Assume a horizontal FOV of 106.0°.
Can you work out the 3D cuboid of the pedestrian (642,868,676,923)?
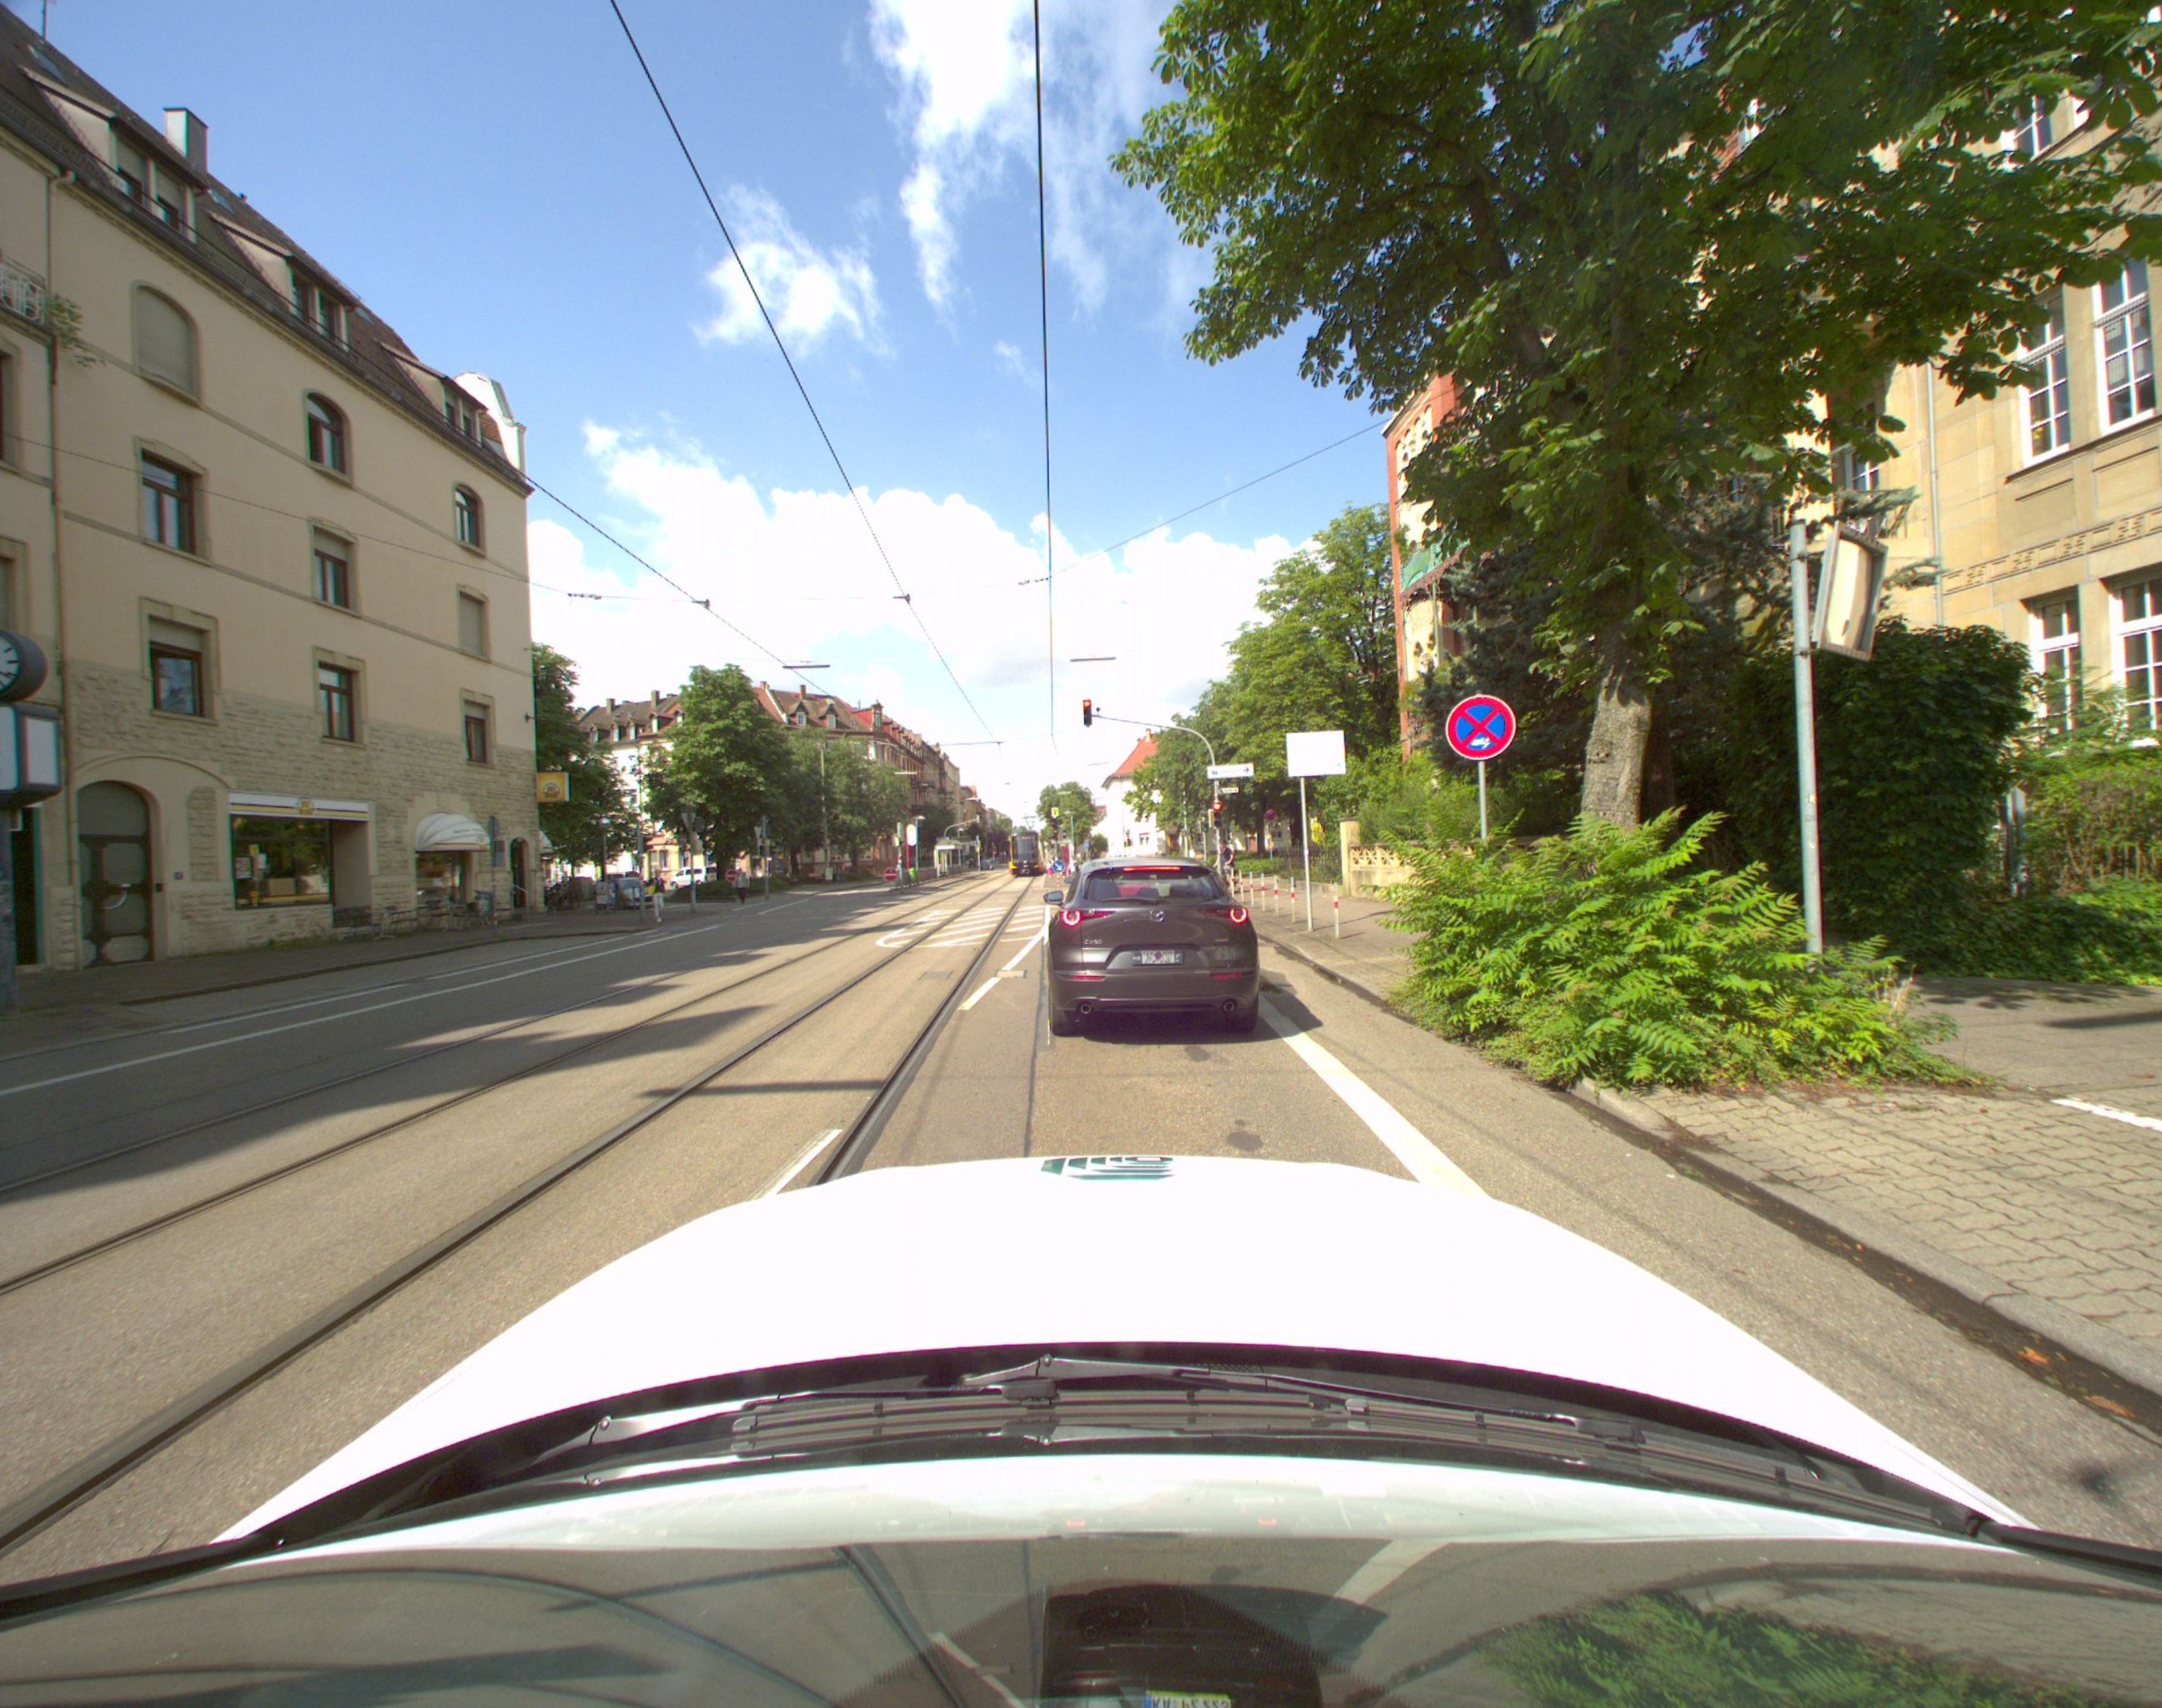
[{"bbox_3d":[-13.944,1.353,26.897,0.805,1.754,0.677,-2,0,-41],"label":"pedestrian"}]

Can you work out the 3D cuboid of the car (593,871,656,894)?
[{"bbox_3d":[-37.244,2.298,66.489,3.972,1.596,2.001,-3,0,1],"label":"car"}]

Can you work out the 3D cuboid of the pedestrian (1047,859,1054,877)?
[{"bbox_3d":[-1.835,0.839,48.585,0.379,1.071,0.474,-3,0,-3],"label":"pedestrian"}]

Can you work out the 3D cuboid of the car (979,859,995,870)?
[{"bbox_3d":[-11.912,1.292,103.300,1.610,1.310,3.625,-3,0,-2],"label":"car"}]

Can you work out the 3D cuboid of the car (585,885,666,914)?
[{"bbox_3d":[-21.253,2.111,37.983,3.948,1.182,1.689,-3,0,35],"label":"car"}]

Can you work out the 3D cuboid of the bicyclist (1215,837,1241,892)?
[{"bbox_3d":[4.916,0.356,27.219,0.608,1.793,0.656,-2,0,-9],"label":"bicyclist"}]

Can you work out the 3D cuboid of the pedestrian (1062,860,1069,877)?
[{"bbox_3d":[-0.949,0.889,49.031,0.379,0.984,0.474,-3,0,-3],"label":"pedestrian"}]

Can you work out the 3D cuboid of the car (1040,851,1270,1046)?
[{"bbox_3d":[0.615,0.731,8.345,1.772,1.499,4.001,-1,0,1],"label":"car"}]

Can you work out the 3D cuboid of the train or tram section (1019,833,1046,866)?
[{"bbox_3d":[-5.522,-0.609,95.362,2.746,3.490,14.395,-3,1,-2],"label":"train or tram section"}]

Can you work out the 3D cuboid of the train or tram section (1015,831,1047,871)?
[{"bbox_3d":[-4.881,-0.397,80.997,2.746,3.490,14.395,-3,1,-2],"label":"train or tram section"}]

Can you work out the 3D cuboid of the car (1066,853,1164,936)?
[{"bbox_3d":[0.667,0.746,16.955,1.772,1.499,4.001,-1,0,1],"label":"car"}]

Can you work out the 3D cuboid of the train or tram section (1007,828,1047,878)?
[{"bbox_3d":[-4.259,-0.195,66.616,2.746,3.490,14.395,-3,1,-2],"label":"train or tram section"}]

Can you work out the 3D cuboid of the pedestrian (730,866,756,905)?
[{"bbox_3d":[-15.542,1.442,37.452,0.817,1.705,0.720,-3,0,6],"label":"pedestrian"}]

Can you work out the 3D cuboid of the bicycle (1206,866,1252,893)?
[{"bbox_3d":[4.999,0.853,27.456,1.708,0.824,0.488,-3,0,-40],"label":"bicycle"}]

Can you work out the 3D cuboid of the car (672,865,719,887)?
[{"bbox_3d":[-37.380,2.133,78.907,3.950,1.903,2.012,-3,0,25],"label":"car"}]

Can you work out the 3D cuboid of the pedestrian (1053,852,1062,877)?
[{"bbox_3d":[-1.391,0.624,48.564,0.449,1.434,0.474,-3,0,-3],"label":"pedestrian"}]
